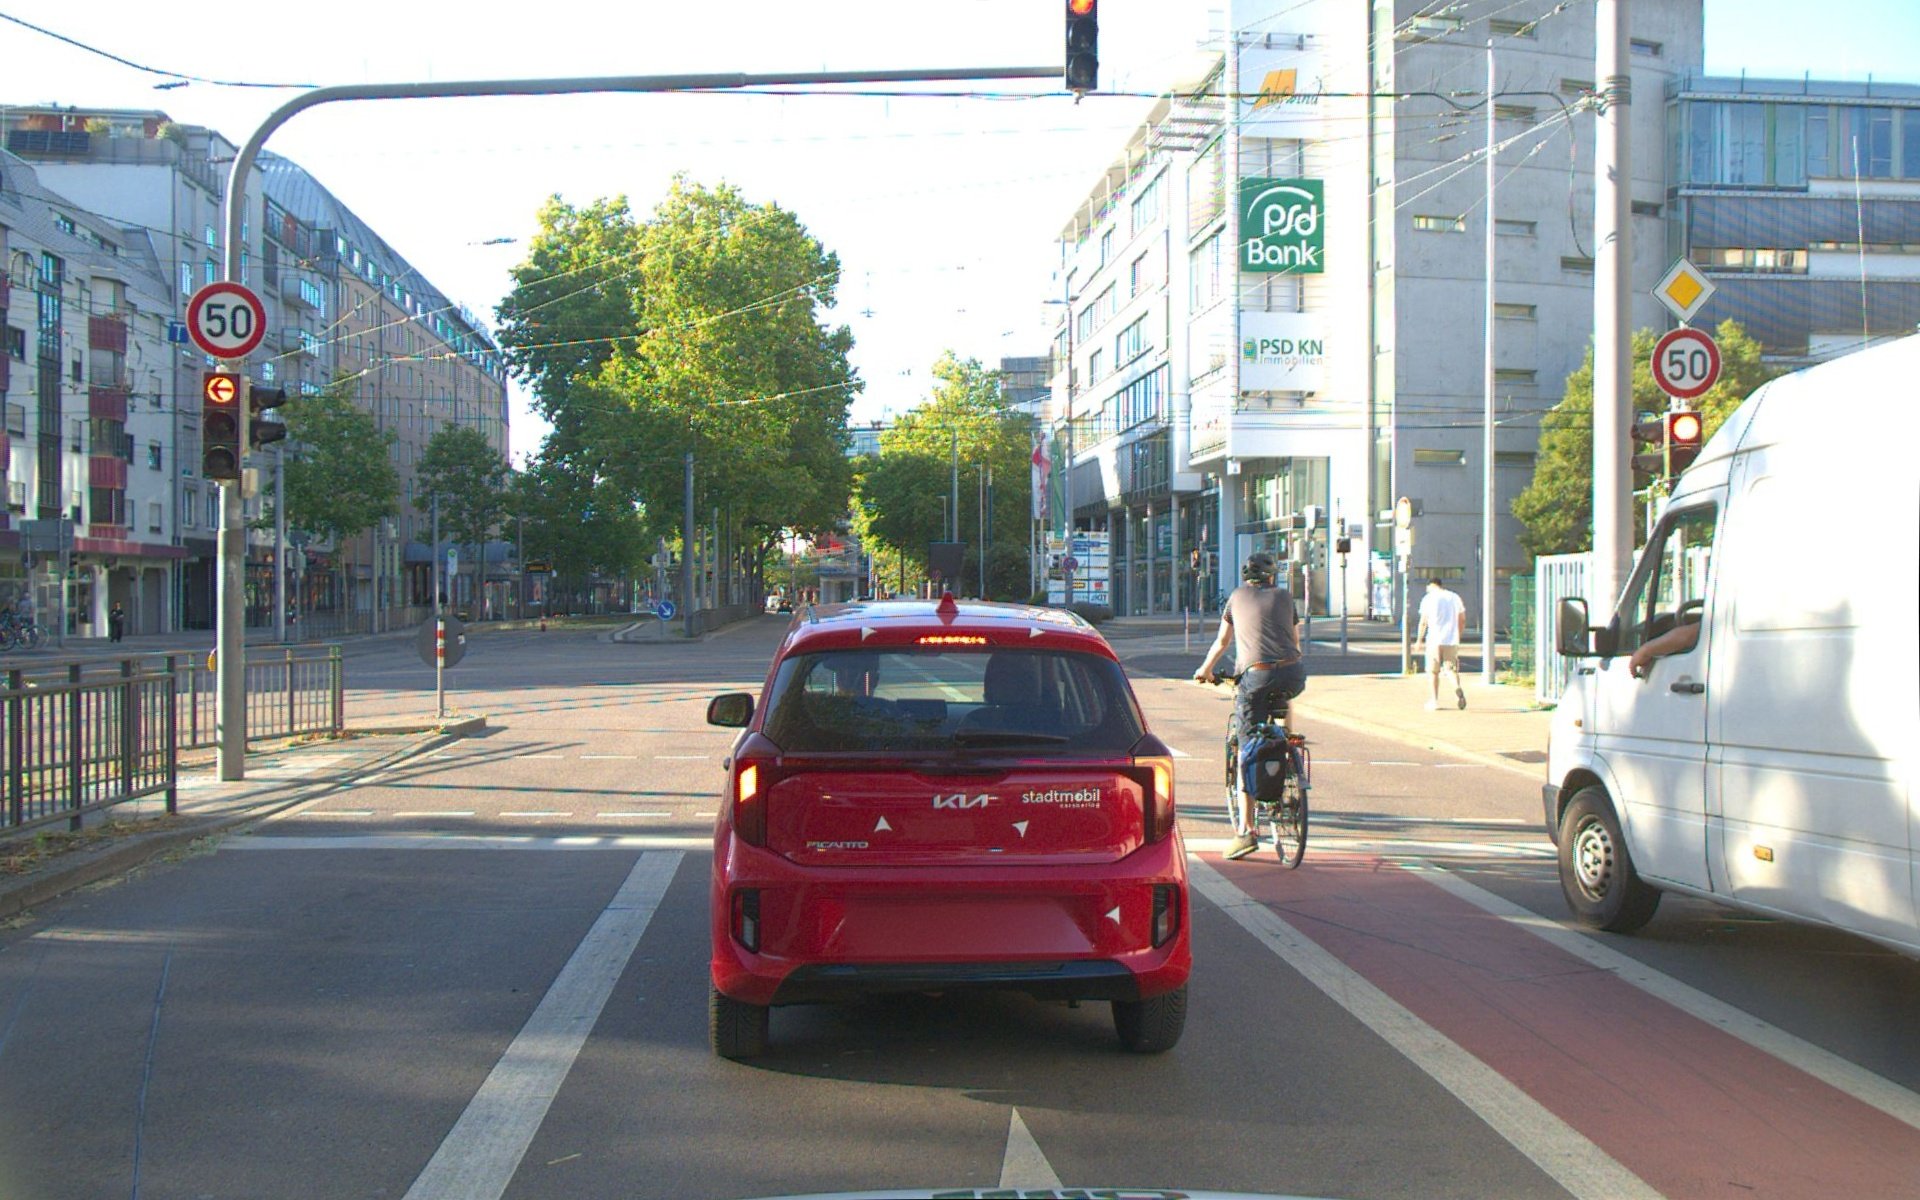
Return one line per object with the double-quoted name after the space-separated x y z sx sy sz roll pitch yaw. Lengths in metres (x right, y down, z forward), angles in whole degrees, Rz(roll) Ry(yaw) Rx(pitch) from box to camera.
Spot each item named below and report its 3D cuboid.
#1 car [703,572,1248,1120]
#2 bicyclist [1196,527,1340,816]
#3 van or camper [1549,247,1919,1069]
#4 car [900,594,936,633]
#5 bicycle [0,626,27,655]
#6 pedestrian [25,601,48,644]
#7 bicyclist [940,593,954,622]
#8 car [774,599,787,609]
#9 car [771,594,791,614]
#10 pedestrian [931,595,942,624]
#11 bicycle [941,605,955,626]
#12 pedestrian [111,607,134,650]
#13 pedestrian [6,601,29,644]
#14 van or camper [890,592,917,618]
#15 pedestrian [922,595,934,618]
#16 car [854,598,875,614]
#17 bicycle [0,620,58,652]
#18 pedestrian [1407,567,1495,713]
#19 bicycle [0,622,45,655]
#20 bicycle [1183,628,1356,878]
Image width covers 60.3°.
-0.097 0.702 6.497 1.582 1.561 3.408 0 0 -5 "car"
1.821 0.402 9.904 0.637 1.631 1.088 0 0 -1 "bicyclist"
4.203 0.202 5.418 1.930 2.763 6.300 1 0 -4 "van or camper"
-2.030 0.648 79.561 1.603 1.831 3.327 0 0 -3 "car"
-29.451 1.244 50.279 1.806 0.869 0.553 0 0 -4 "bicycle"
-32.875 0.792 58.877 0.524 1.520 0.586 0 0 -9 "pedestrian"
-0.731 0.425 95.778 0.707 1.631 1.089 -3 0 1 "bicyclist"
-27.767 0.656 255.398 1.745 1.561 3.403 0 0 -10 "car"
-19.031 0.433 175.286 1.956 2.049 3.992 0 0 -8 "car"
-1.389 0.539 97.425 0.633 1.710 0.651 0 0 0 "pedestrian"
-0.694 0.898 95.947 0.682 1.117 1.751 -4 1 1 "bicycle"
-31.364 1.054 61.940 0.683 1.571 1.041 0 0 -23 "pedestrian"
-33.454 0.782 58.690 0.524 1.520 0.586 0 0 -9 "pedestrian"
-4.537 0.382 132.214 1.954 2.024 4.740 0 0 -4 "van or camper"
-2.261 0.461 116.978 0.630 1.607 0.722 -4 0 -8 "pedestrian"
-9.691 0.632 167.467 1.745 1.561 3.504 0 0 -10 "car"
-29.544 1.136 52.160 1.808 1.002 0.552 0 0 -8 "bicycle"
6.391 0.504 21.587 0.761 1.855 1.215 0 0 -1 "pedestrian"
-29.601 1.204 51.543 1.808 1.002 0.552 0 0 -8 "bicycle"
1.805 0.842 9.927 0.637 1.303 1.965 0 0 -1 "bicycle"
